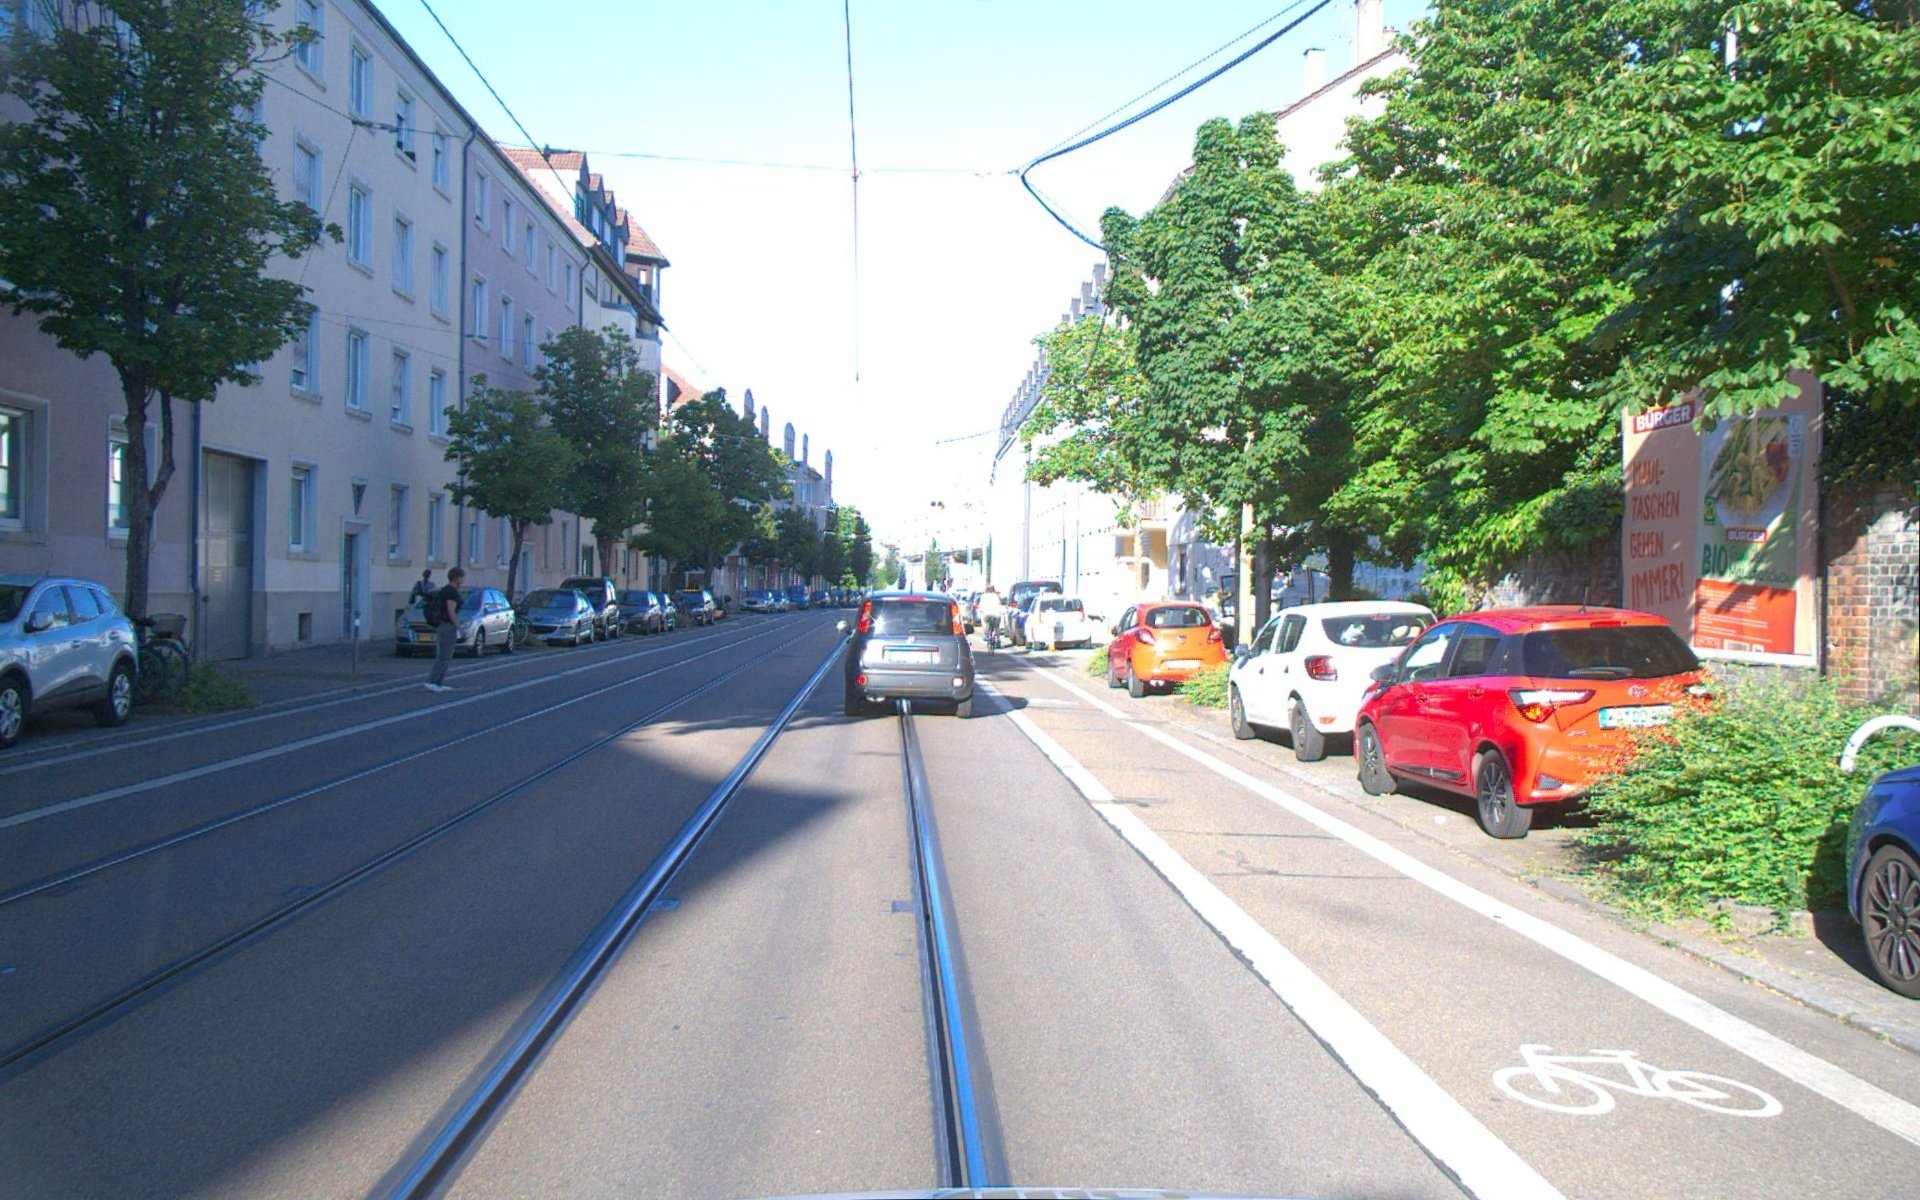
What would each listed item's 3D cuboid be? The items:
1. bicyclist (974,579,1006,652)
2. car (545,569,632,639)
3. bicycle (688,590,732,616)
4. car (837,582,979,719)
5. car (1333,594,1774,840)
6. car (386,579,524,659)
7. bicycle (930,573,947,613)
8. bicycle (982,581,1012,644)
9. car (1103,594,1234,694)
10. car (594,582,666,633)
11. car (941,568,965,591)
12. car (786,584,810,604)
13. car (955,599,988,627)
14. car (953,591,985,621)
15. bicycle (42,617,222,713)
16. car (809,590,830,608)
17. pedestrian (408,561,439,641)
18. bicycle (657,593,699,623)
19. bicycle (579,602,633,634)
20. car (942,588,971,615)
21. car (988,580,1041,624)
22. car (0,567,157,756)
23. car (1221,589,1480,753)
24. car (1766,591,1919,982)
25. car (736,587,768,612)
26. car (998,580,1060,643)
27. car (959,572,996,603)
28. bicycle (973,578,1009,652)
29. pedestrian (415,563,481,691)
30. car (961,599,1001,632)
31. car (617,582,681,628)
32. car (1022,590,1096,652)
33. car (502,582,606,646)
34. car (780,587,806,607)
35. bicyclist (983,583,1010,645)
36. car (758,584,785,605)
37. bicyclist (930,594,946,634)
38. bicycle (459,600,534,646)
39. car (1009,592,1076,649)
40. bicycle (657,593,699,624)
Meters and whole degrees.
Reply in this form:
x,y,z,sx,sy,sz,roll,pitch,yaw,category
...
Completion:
x,y,z,sx,sy,sz,roll,pitch,yaw,category
0.758,0.392,41.480,0.685,1.790,0.757,2,0,-4,bicyclist
-11.139,0.109,49.881,1.772,1.977,4.331,2,0,-3,car
-13.166,0.154,87.116,2.233,1.310,0.756,2,0,-8,bicycle
-0.720,0.582,21.608,1.617,1.568,4.232,2,0,-3,car
4.285,0.743,12.654,1.656,1.557,3.996,0,0,-5,car
-10.686,0.372,35.298,1.772,1.534,4.189,2,0,-3,car
-1.131,-0.349,87.459,0.727,2.049,2.810,2,0,-3,bicycle
1.073,0.358,48.679,0.661,1.777,2.156,2,0,-3,bicycle
3.431,0.686,27.697,1.602,1.534,3.395,-1,0,-3,car
-11.374,0.242,57.225,1.772,1.648,4.062,2,0,-3,car
-0.517,-1.507,122.690,1.551,1.627,3.374,2,0,-3,car
-13.278,-0.484,135.853,1.672,1.523,3.720,2,0,-2,car
0.600,0.715,90.705,1.551,1.430,3.374,2,0,-3,car
0.515,0.341,95.242,1.551,1.627,3.374,2,0,-3,car
-10.002,0.781,20.018,1.886,1.064,0.476,2,0,-2,bicycle
-12.872,-0.104,151.675,1.672,1.523,3.720,2,0,-2,car
-12.690,0.024,39.132,0.525,1.858,0.542,2,0,-3,pedestrian
-11.970,0.342,70.184,1.695,1.217,0.372,2,0,-7,bicycle
-11.418,0.588,53.359,1.600,0.953,0.516,2,0,-7,bicycle
-0.215,0.089,103.224,1.551,1.627,3.374,2,0,-3,car
1.979,0.063,61.001,1.622,1.526,3.128,2,0,-3,car
-9.665,0.529,16.456,1.620,1.697,4.290,2,0,-7,car
4.086,0.679,17.943,1.655,1.557,3.997,0,0,-3,car
4.646,0.742,5.869,1.654,1.557,4.000,0,0,1,car
-13.494,-0.027,107.396,1.672,1.523,3.720,2,0,-2,car
2.285,0.375,55.920,1.622,1.978,4.662,2,0,-3,car
0.836,-0.614,82.095,1.551,1.430,3.374,2,0,-3,car
0.768,0.368,41.469,0.661,1.777,2.156,2,0,-3,bicycle
-7.415,0.377,23.939,0.838,1.808,0.730,0,1,-23,pedestrian
0.938,0.699,76.455,1.551,1.430,3.374,-2,0,-3,car
-11.737,0.176,62.596,1.772,1.648,4.062,2,0,-3,car
2.724,0.561,46.080,1.622,1.598,3.497,2,0,-3,car
-10.749,0.342,44.104,1.772,1.534,4.678,2,0,-3,car
-13.220,-0.235,130.997,1.672,1.523,3.720,2,0,-2,car
1.062,0.415,48.713,0.685,1.790,0.757,2,0,-4,bicyclist
-13.874,-0.410,121.921,1.672,1.523,3.720,2,0,-2,car
-1.165,0.738,87.475,0.701,2.049,0.831,2,0,-4,bicyclist
-11.076,0.545,39.564,1.632,1.019,0.476,2,0,0,bicycle
2.477,0.589,50.502,1.622,1.598,3.874,2,0,-3,car
-11.903,0.361,69.792,1.695,1.217,0.372,2,0,-7,bicycle
